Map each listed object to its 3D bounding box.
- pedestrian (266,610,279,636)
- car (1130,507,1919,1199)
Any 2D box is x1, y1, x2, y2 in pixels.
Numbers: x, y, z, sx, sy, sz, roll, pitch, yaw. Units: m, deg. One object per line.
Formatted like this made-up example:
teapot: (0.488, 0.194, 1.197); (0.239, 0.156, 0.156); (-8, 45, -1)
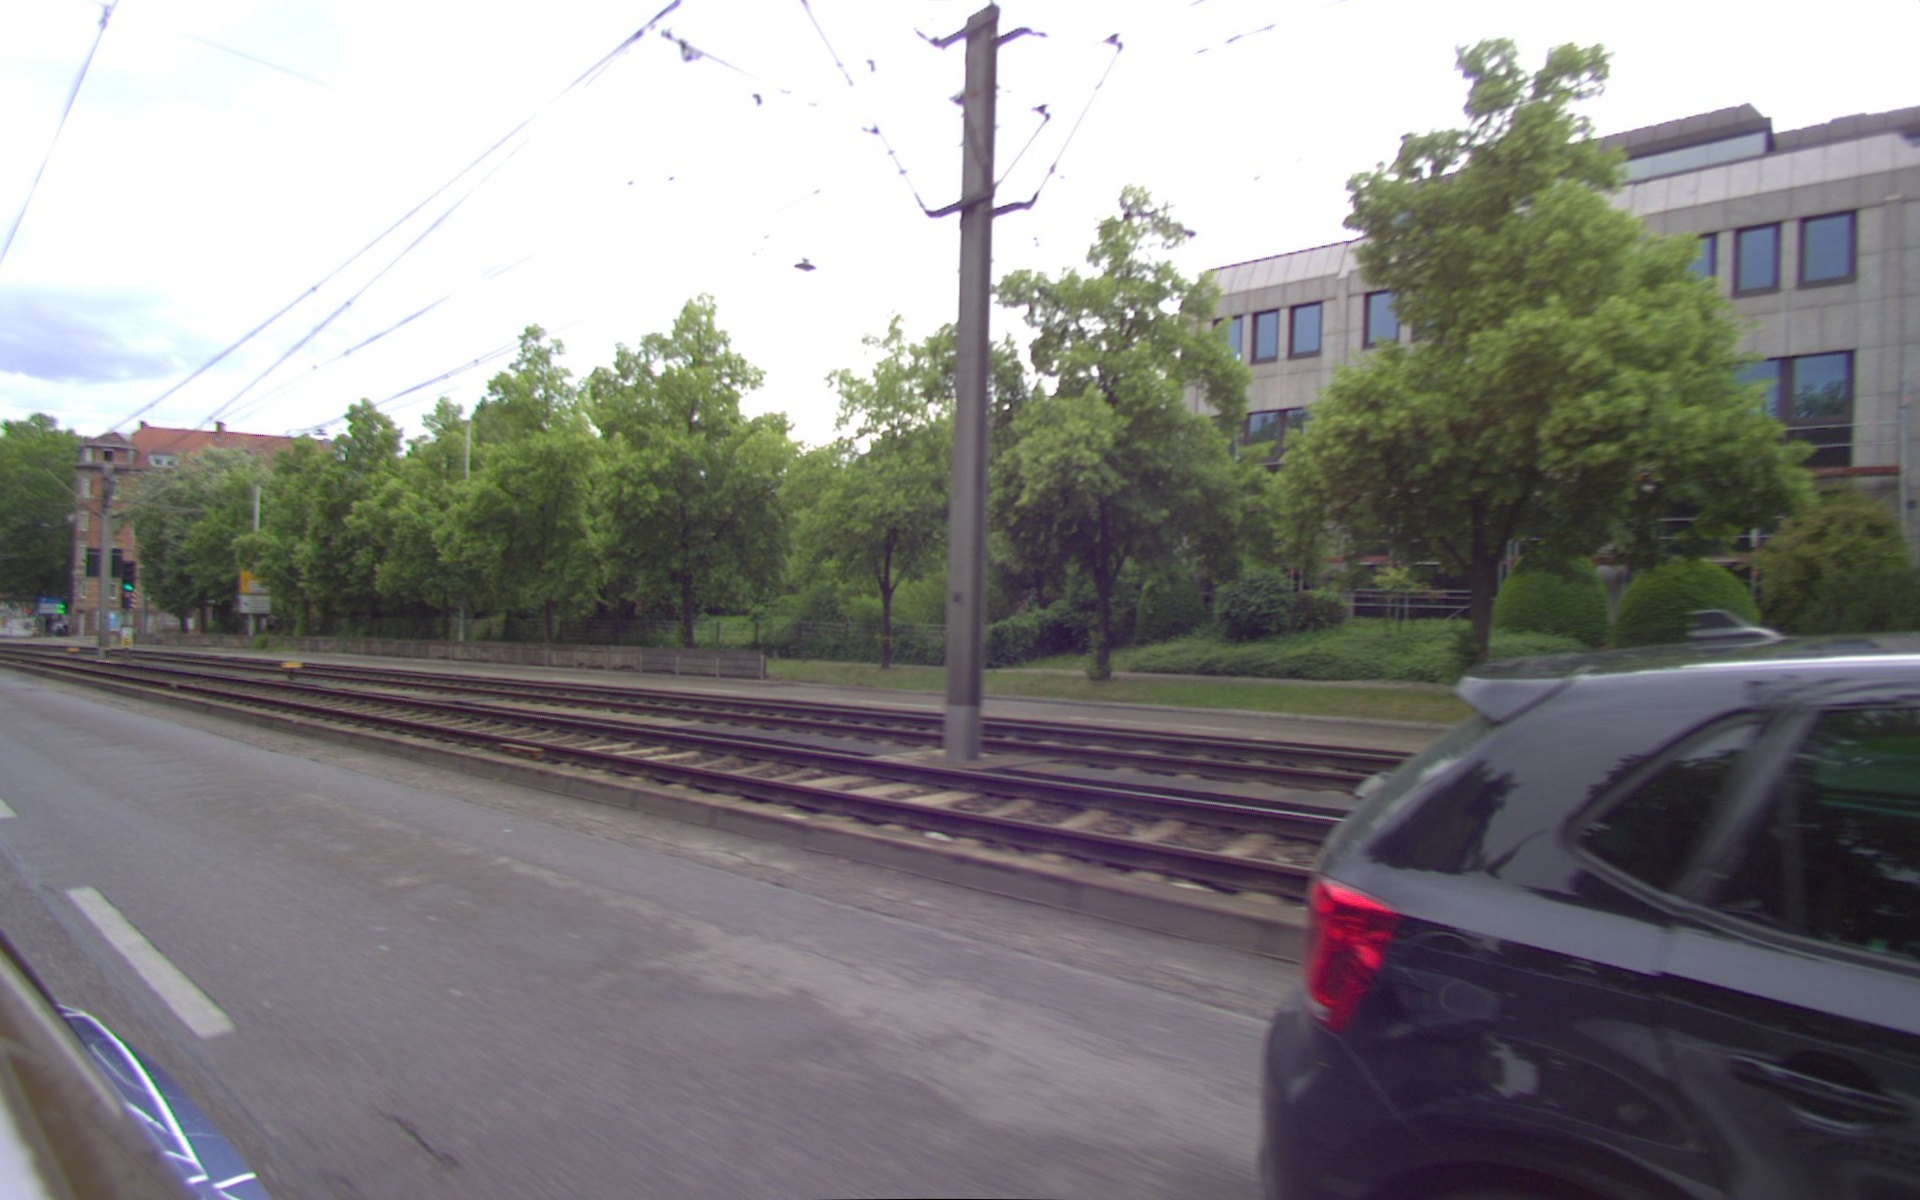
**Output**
pedestrian: (-50.365, 1.699, 74.170); (0.653, 1.917, 0.590); (-1, -1, 37)
car: (2.373, 0.649, 1.163); (3.961, 1.497, 1.776); (-2, -3, 40)
